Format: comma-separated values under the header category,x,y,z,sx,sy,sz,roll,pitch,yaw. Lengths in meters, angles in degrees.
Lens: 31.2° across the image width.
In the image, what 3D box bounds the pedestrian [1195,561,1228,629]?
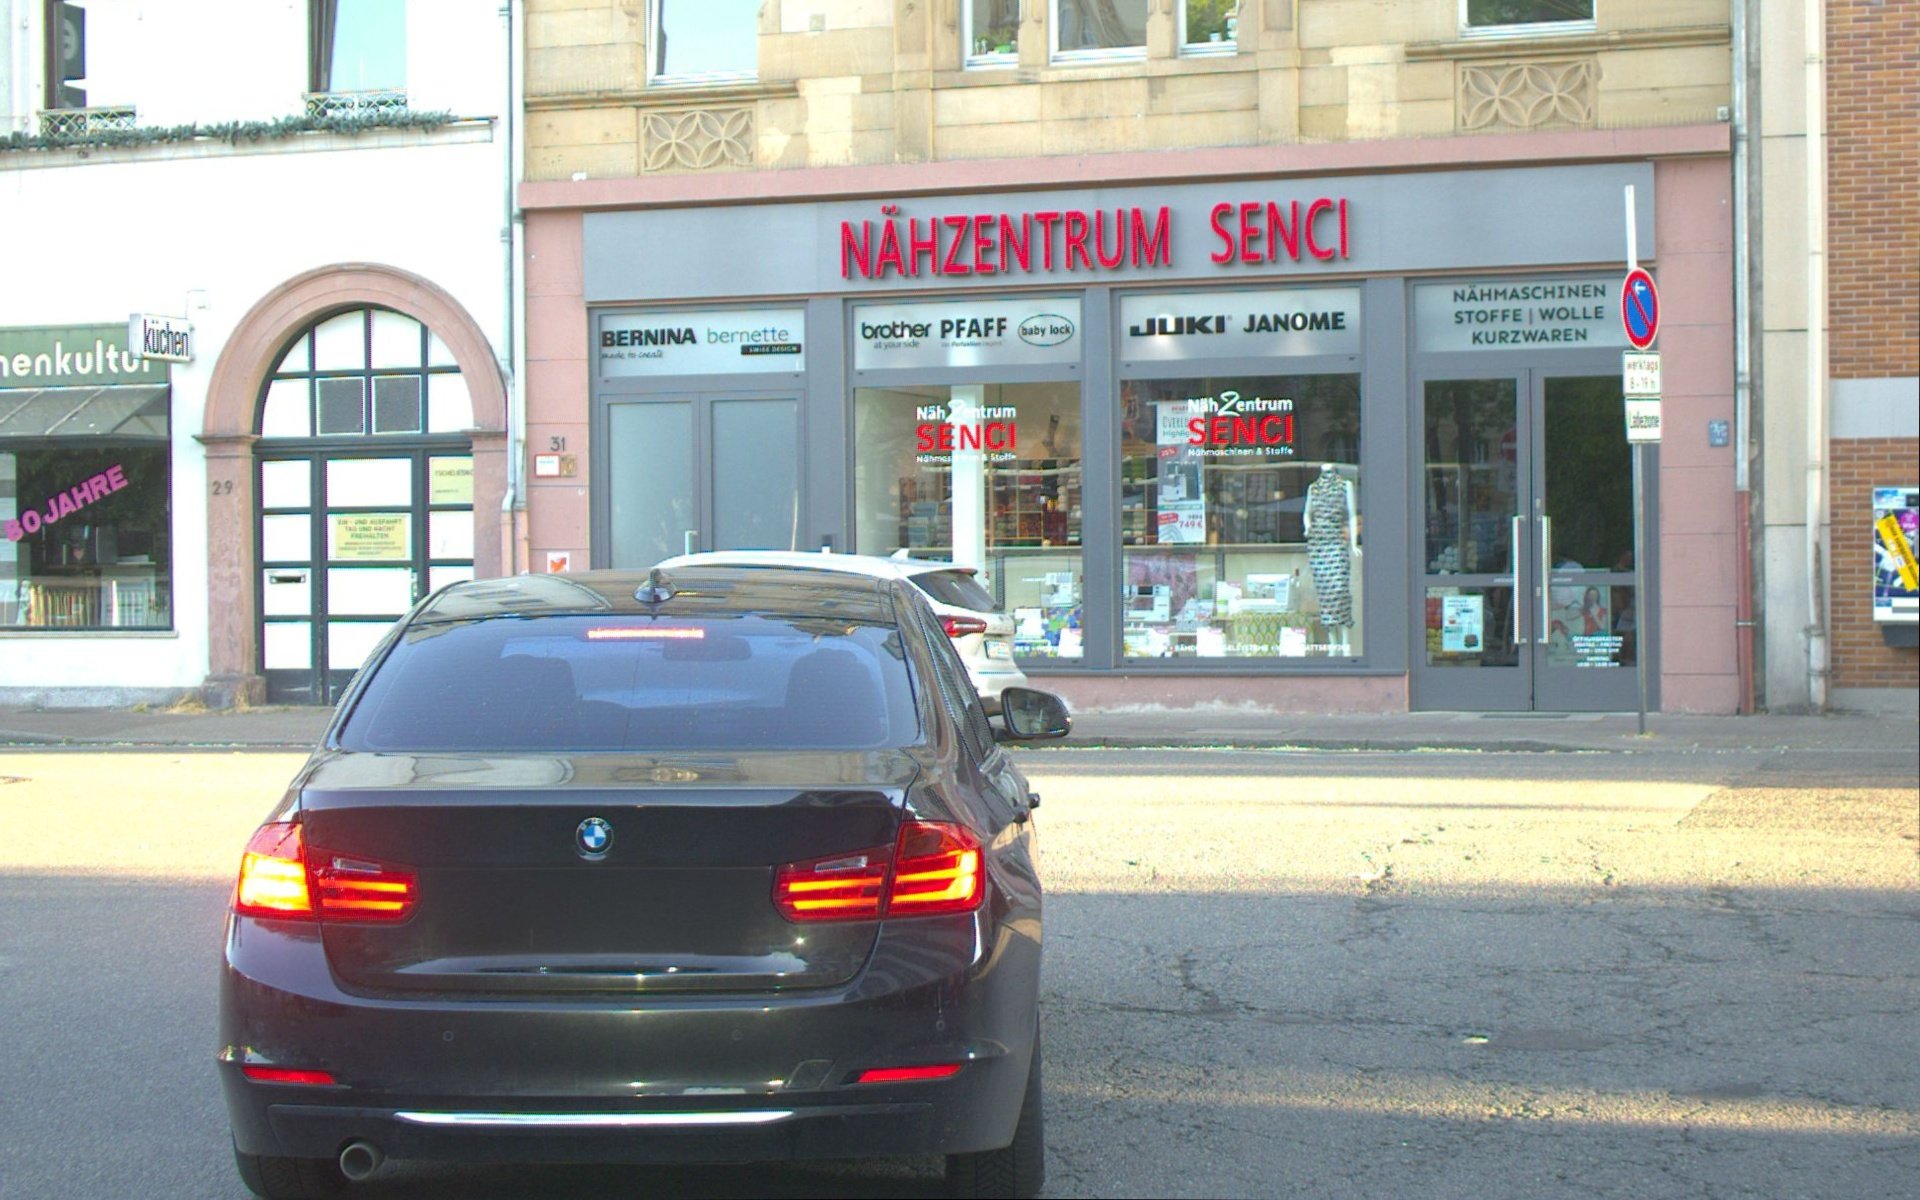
category,x,y,z,sx,sy,sz,roll,pitch,yaw
pedestrian,6.781,-0.140,92.677,0.700,1.813,1.123,0,1,-6

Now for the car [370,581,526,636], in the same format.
category,x,y,z,sx,sy,sz,roll,pitch,yaw
car,-16.798,0.260,112.826,4.605,1.647,2.097,1,2,14

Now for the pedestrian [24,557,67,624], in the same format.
category,x,y,z,sx,sy,sz,roll,pitch,yaw
pedestrian,-27.343,-0.290,102.788,0.918,2.007,0.912,0,0,42

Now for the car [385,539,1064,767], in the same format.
category,x,y,z,sx,sy,sz,roll,pitch,yaw
car,-1.753,0.351,25.860,4.671,1.530,1.998,1,1,18

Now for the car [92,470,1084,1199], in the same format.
category,x,y,z,sx,sy,sz,roll,pitch,yaw
car,-0.649,0.491,8.747,1.889,1.487,4.204,0,0,3
